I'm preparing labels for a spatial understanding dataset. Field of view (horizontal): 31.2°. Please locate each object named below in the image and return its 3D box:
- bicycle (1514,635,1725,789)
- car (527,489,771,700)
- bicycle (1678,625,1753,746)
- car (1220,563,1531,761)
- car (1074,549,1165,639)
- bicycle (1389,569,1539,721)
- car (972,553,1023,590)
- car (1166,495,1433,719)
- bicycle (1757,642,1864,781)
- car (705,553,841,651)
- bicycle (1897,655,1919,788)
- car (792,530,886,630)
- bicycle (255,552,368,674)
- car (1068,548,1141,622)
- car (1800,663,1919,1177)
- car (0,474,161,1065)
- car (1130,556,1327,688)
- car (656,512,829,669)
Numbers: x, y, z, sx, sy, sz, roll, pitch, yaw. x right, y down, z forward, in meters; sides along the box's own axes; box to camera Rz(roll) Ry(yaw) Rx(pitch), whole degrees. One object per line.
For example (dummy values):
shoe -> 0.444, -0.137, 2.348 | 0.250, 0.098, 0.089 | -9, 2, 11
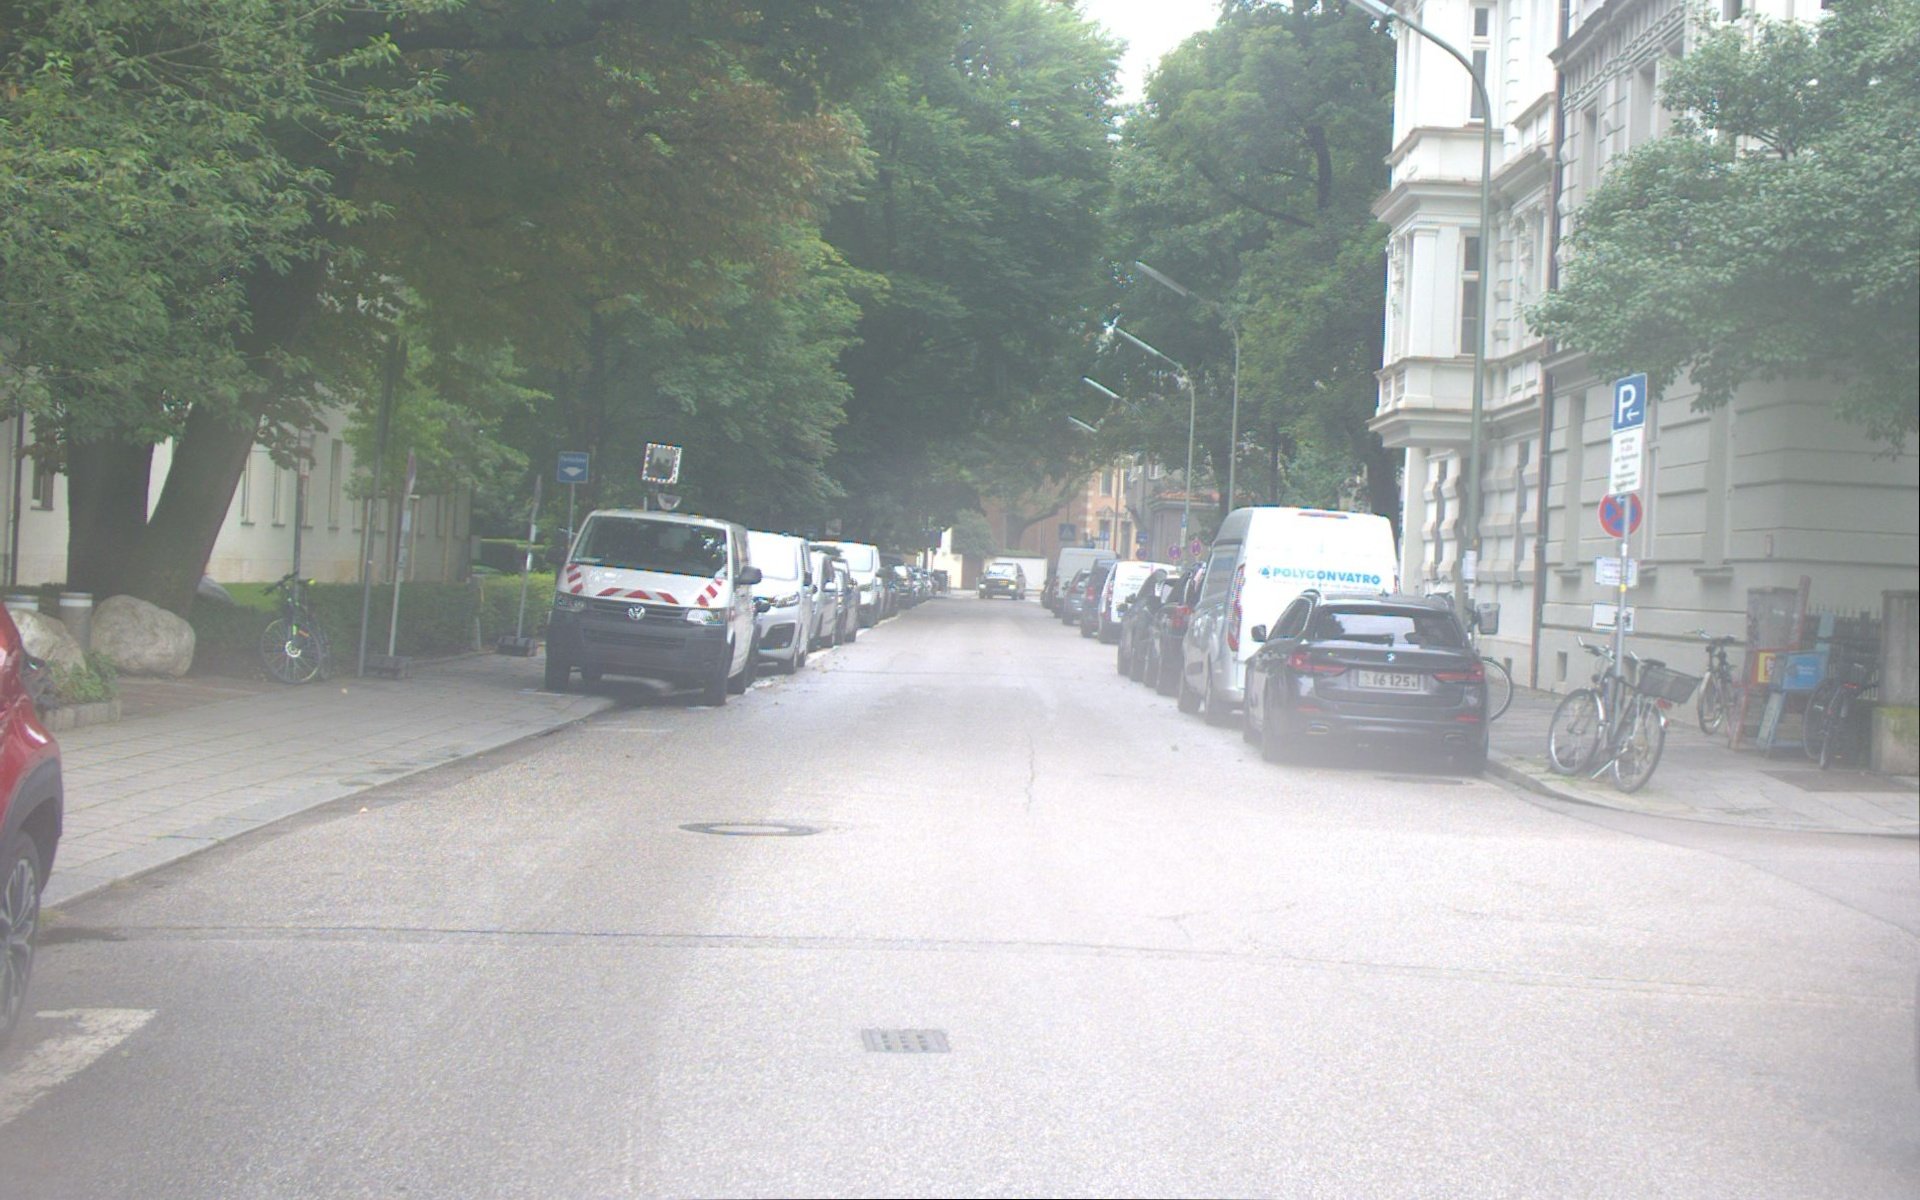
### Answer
bicycle -> 5.061, 0.843, 26.543 | 0.653, 1.024, 2.203 | 2, 2, -15
car -> -3.235, -0.091, 36.857 | 2.247, 1.950, 5.454 | 4, 1, -3
bicycle -> 7.091, 0.784, 32.325 | 0.546, 1.056, 1.750 | 3, 1, 9
car -> 3.520, 0.486, 30.002 | 2.272, 1.541, 4.586 | 1, 0, 2
car -> 3.685, -0.156, 80.017 | 1.994, 1.969, 4.000 | 2, 1, 2
bicycle -> 5.327, 0.462, 36.463 | 0.707, 1.510, 2.039 | 2, 1, -17
car -> 1.890, -1.418, 172.528 | 1.994, 1.777, 3.999 | 2, 1, 8
car -> 3.555, 0.061, 36.964 | 2.203, 2.201, 4.855 | 1, 0, -2
bicycle -> 7.103, 0.913, 28.772 | 0.430, 1.024, 1.890 | 2, 2, 2
car -> -3.216, 0.015, 59.992 | 2.069, 1.514, 4.237 | 4, 1, 0
bicycle -> 8.541, 1.007, 27.449 | 1.923, 1.024, 0.557 | 2, 2, 3
car -> -2.844, -0.484, 81.584 | 2.002, 2.179, 4.696 | 4, 1, -1
bicycle -> -6.239, 0.119, 33.153 | 0.633, 1.099, 1.767 | 4, 0, 2
car -> 4.157, -0.448, 99.201 | 1.994, 2.007, 4.000 | 2, 1, 2
car -> 3.581, 0.881, 7.870 | 1.999, 1.314, 4.596 | 0, 1, -3
car -> -3.445, 0.403, 8.682 | 1.887, 1.585, 4.528 | 4, 1, -3
car -> 3.512, 0.266, 45.810 | 2.138, 1.624, 4.316 | 1, 0, -2
car -> -3.028, -0.158, 48.578 | 2.183, 1.950, 5.167 | 4, 1, -3
